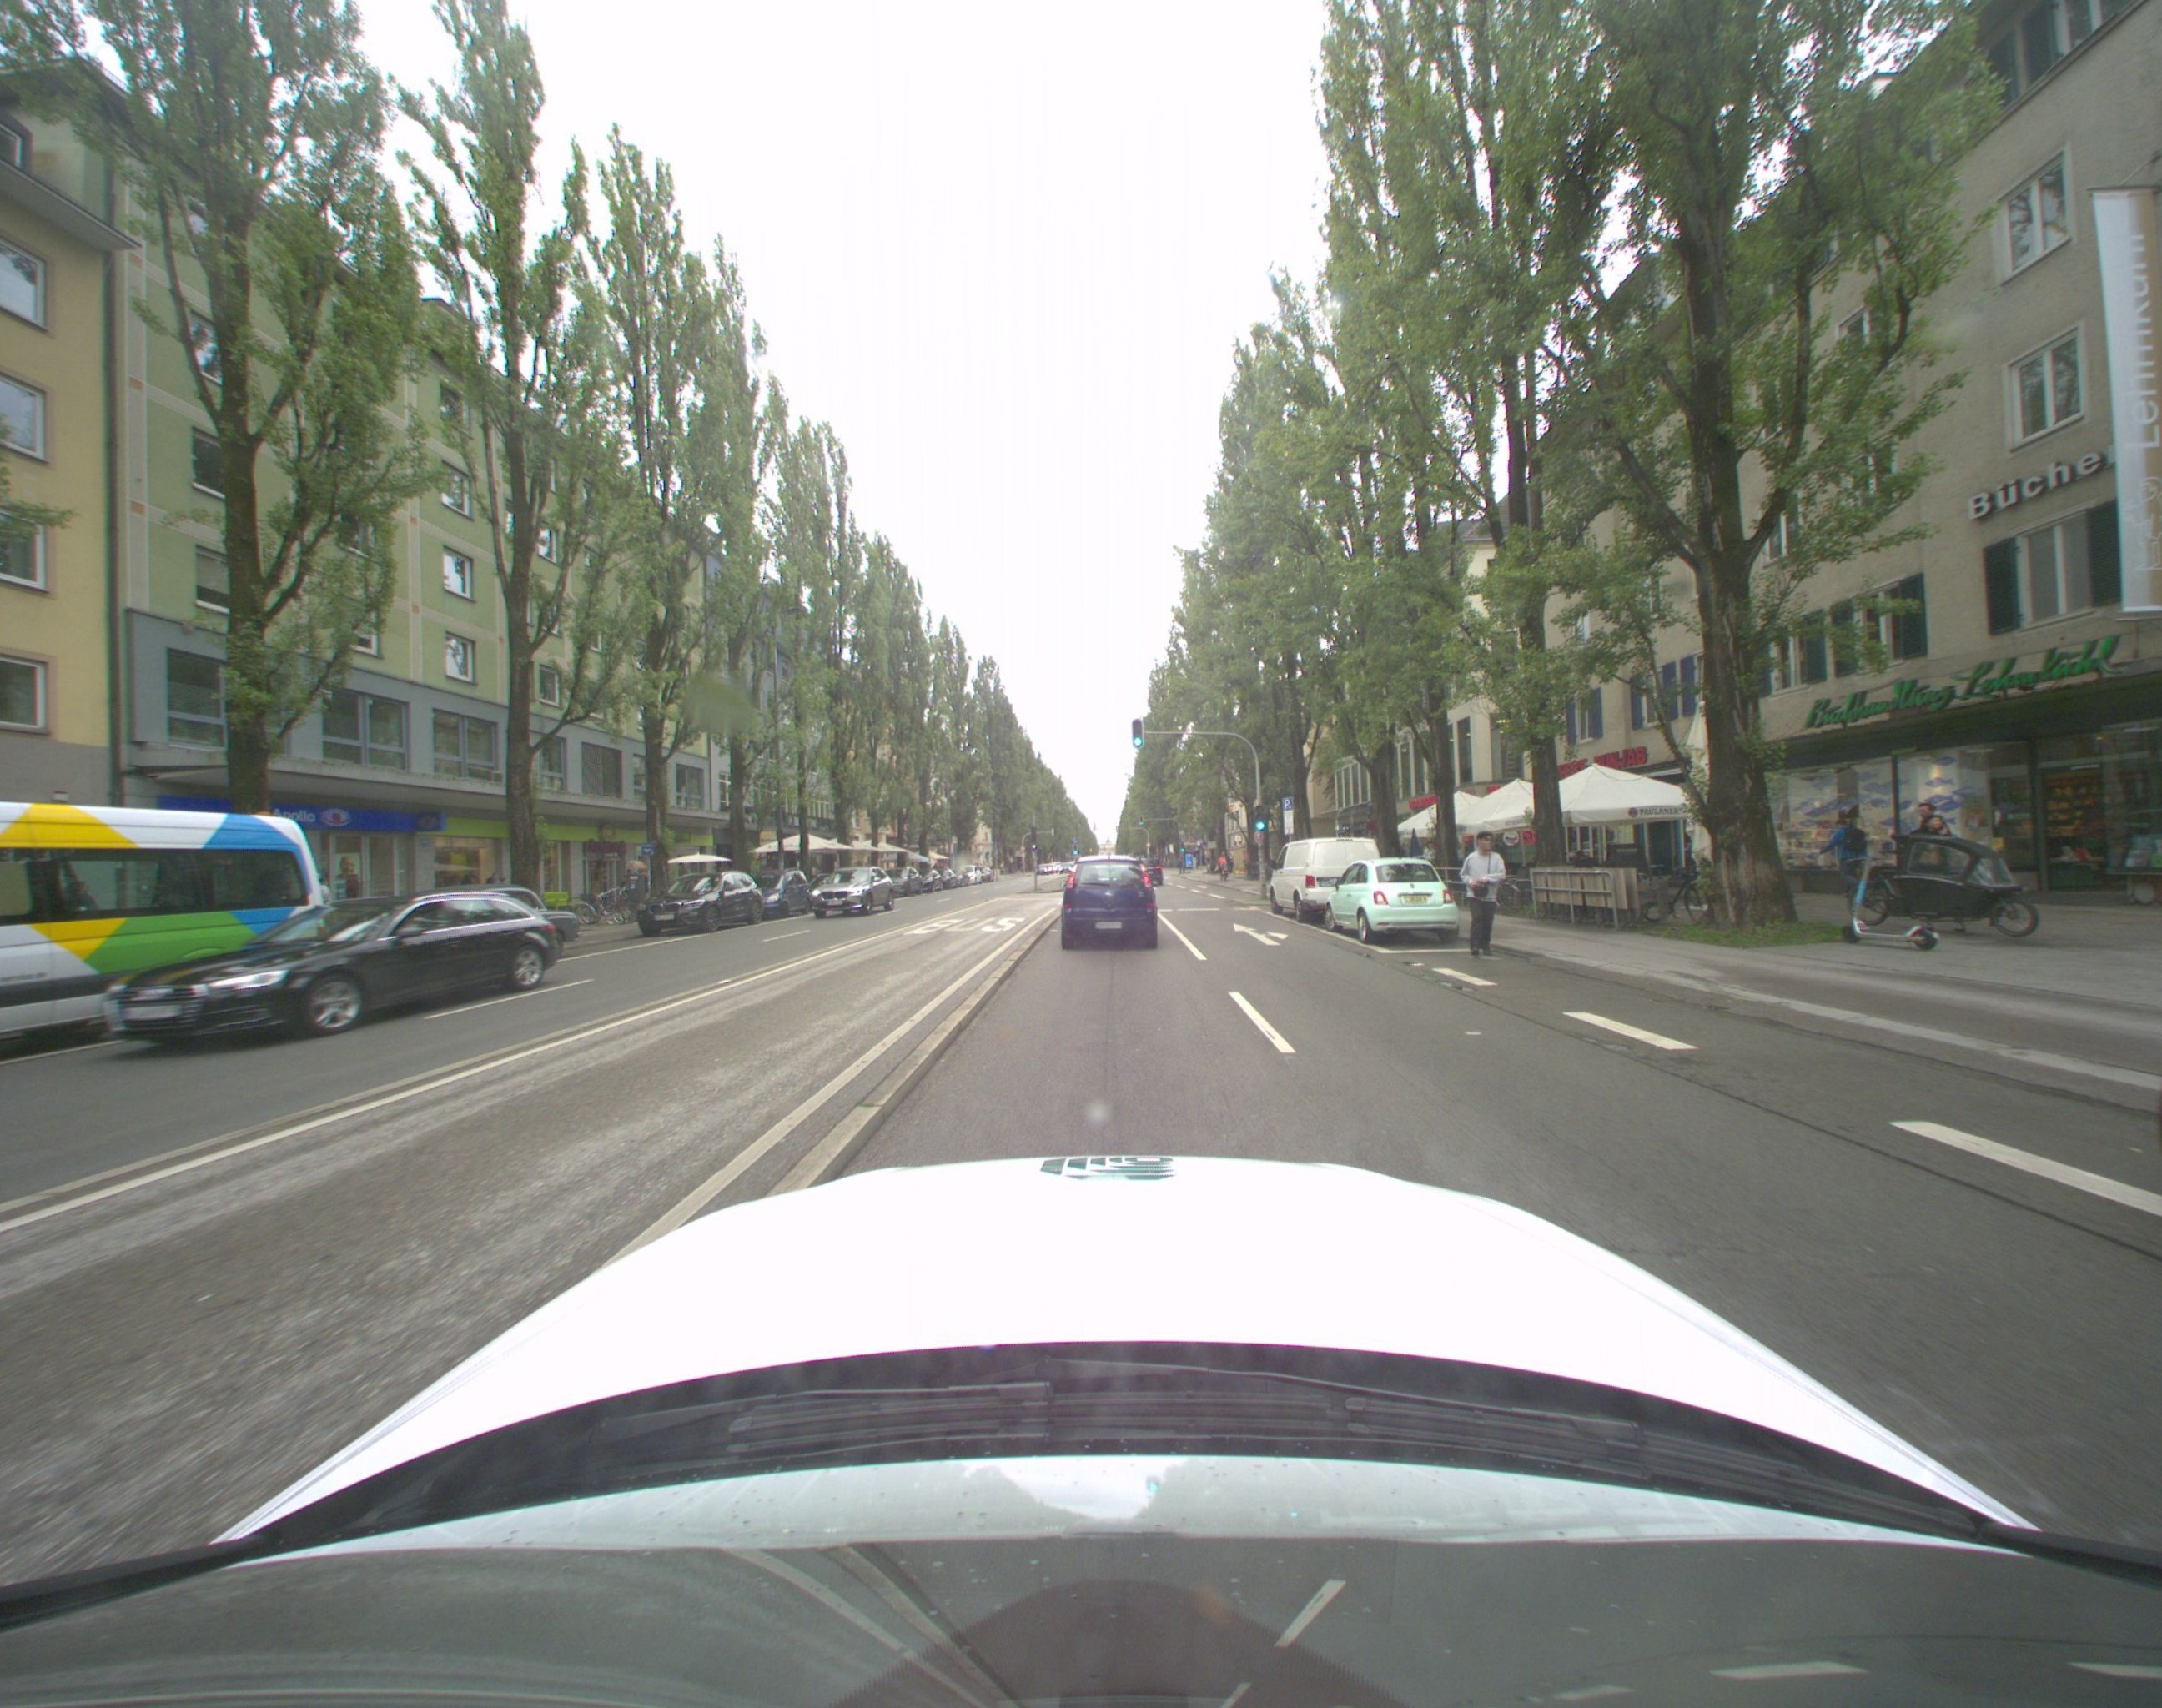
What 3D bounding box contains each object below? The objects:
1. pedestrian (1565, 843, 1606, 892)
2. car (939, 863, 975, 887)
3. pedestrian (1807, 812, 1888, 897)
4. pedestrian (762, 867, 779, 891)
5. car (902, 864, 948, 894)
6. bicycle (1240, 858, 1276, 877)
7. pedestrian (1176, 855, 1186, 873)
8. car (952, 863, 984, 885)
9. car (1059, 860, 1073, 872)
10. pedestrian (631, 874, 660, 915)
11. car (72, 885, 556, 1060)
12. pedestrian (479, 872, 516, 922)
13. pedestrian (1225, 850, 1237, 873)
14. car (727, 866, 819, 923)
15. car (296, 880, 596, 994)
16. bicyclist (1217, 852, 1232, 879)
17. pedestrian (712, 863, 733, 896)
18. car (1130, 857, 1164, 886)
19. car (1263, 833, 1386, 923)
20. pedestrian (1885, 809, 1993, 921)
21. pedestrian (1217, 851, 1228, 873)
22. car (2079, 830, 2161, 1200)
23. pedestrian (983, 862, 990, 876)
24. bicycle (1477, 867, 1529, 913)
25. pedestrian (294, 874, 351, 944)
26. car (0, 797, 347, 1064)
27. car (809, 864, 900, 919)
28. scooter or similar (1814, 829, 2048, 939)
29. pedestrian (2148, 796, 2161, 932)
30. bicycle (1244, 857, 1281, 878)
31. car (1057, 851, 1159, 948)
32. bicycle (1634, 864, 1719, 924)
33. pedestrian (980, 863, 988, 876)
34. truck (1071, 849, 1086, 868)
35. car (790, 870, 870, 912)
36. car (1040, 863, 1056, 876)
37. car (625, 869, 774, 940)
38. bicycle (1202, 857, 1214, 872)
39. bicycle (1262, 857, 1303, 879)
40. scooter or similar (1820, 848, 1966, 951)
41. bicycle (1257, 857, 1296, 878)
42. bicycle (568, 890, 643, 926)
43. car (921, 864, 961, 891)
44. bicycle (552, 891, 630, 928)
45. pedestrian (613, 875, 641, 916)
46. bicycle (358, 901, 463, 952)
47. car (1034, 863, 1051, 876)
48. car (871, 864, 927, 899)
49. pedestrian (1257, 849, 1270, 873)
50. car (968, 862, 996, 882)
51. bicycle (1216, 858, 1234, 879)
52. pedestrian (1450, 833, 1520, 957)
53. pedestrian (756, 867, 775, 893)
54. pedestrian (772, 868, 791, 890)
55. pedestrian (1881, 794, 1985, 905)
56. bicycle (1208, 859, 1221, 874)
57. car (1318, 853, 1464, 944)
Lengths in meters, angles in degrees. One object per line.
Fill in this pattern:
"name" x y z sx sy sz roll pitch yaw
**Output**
"pedestrian" 14.274 0.379 23.070 0.636 1.324 0.800 -2 -1 1
"car" -9.382 1.585 61.964 1.859 1.665 4.122 -4 0 2
"pedestrian" 15.887 0.011 16.911 0.795 1.677 0.877 -2 -1 1
"pedestrian" -18.656 1.489 48.963 0.763 1.410 0.799 0 -1 -3
"car" -9.762 1.523 51.360 1.859 1.665 4.122 -4 0 2
"bicycle" 11.887 0.896 54.607 2.220 1.204 0.626 -3 -1 -1
"pedestrian" 10.155 0.978 82.670 0.880 1.766 0.769 -2 -1 -1
"car" -9.275 1.613 67.227 1.859 1.665 4.122 -4 0 2
"car" -2.064 1.606 111.069 1.728 1.465 3.366 -2 0 2
"pedestrian" -18.455 1.718 34.516 0.753 1.686 0.675 -3 -2 3
"car" -8.600 1.201 9.773 1.739 1.434 4.131 -3 0 2
"pedestrian" -20.391 1.504 28.467 0.670 1.686 0.759 -3 -2 3
"pedestrian" 12.299 0.636 66.764 0.636 1.827 0.885 0 -1 -8
"car" -10.727 1.363 28.700 1.704 1.721 3.920 -4 0 -1
"car" -11.244 1.369 14.944 1.859 1.552 4.416 -4 0 2
"bicyclist" 9.432 0.738 53.576 0.764 1.766 0.885 -2 -1 1
"pedestrian" -19.218 1.358 43.623 0.753 1.686 0.675 -3 -2 3
"car" 3.957 1.026 49.355 1.889 1.622 4.002 -1 0 2
"car" 5.930 0.544 20.452 1.781 1.946 4.732 -2 0 2
"pedestrian" 13.074 0.168 12.442 0.614 1.605 0.870 -4 -1 -1
"pedestrian" 11.550 0.664 66.494 0.636 1.827 0.885 0 -1 -8
"car" 5.205 0.644 2.237 1.586 1.518 2.729 -1 0 0
"pedestrian" -12.196 1.950 105.207 0.768 1.766 0.881 -2 -1 -12
"bicycle" 9.761 0.808 18.861 0.348 0.996 1.453 -3 -1 -2
"pedestrian" -19.097 1.368 20.522 0.753 1.686 0.675 -3 -2 3
"car" -11.412 0.794 7.916 1.998 2.568 6.915 -4 0 2
"car" -7.803 1.229 28.470 1.764 1.635 4.456 -3 0 1
"scooter or similar" 12.005 0.377 11.668 0.634 1.376 2.493 -3 0 -2
"pedestrian" 13.688 0.102 9.671 0.794 1.677 0.877 -3 -1 2
"bicycle" 11.866 0.881 53.228 2.220 1.204 0.626 -3 -1 -1
"car" 0.523 0.769 15.543 1.665 1.568 4.002 -1 0 2
"bicycle" 10.522 0.692 14.447 0.348 0.996 1.453 -3 -1 -2
"pedestrian" -12.719 2.046 107.151 0.770 1.766 0.878 -2 -1 -23
"truck" -0.503 0.893 150.837 2.374 3.347 7.113 -2 0 2
"car" -10.395 1.482 34.102 1.792 1.489 4.352 -4 0 2
"car" -4.496 2.137 112.681 1.859 1.665 4.122 -2 0 2
"car" -10.745 1.350 23.376 1.859 1.664 4.613 -4 0 2
"bicycle" 11.968 0.962 76.918 0.769 1.349 2.450 -2 -1 1
"bicycle" 12.031 0.820 48.702 2.220 1.204 0.626 -3 -1 -1
"scooter or similar" 10.401 0.553 10.494 0.326 1.216 1.443 -3 -1 -2
"bicycle" 12.097 0.843 50.308 2.220 1.204 0.626 -3 -1 -1
"bicycle" -15.285 1.723 26.206 1.943 1.095 0.718 0 0 -5
"car" -9.671 1.573 56.441 1.859 1.665 4.122 -4 0 2
"bicycle" -15.252 1.717 25.374 1.943 1.095 0.718 0 0 -5
"pedestrian" -19.260 1.752 34.567 0.753 1.686 0.675 -3 -2 3
"bicycle" -15.362 1.646 18.686 1.860 1.095 0.720 0 0 4
"car" -5.117 2.038 108.163 1.859 1.665 4.122 -2 0 2
"car" -10.044 1.476 45.270 1.859 1.665 4.402 -4 0 2
"pedestrian" 13.833 0.525 61.703 0.719 1.827 0.885 0 -1 -8
"car" -9.029 1.624 74.502 1.859 1.665 4.122 -4 0 2
"bicycle" 9.436 0.938 53.451 0.769 1.349 2.450 -2 -1 1
"pedestrian" 6.056 0.589 12.200 0.819 1.773 0.876 -2 -1 30
"pedestrian" -17.390 1.409 44.957 0.763 1.410 0.799 0 -1 -3
"pedestrian" -19.131 1.594 52.041 0.792 1.410 0.770 -1 -1 13
"pedestrian" 14.950 -0.070 14.311 0.952 1.865 0.748 -2 -1 3
"bicycle" 11.819 1.088 71.939 0.769 1.349 2.450 -2 -1 1
"car" 5.704 0.767 15.428 1.535 1.492 3.525 -1 -1 3
